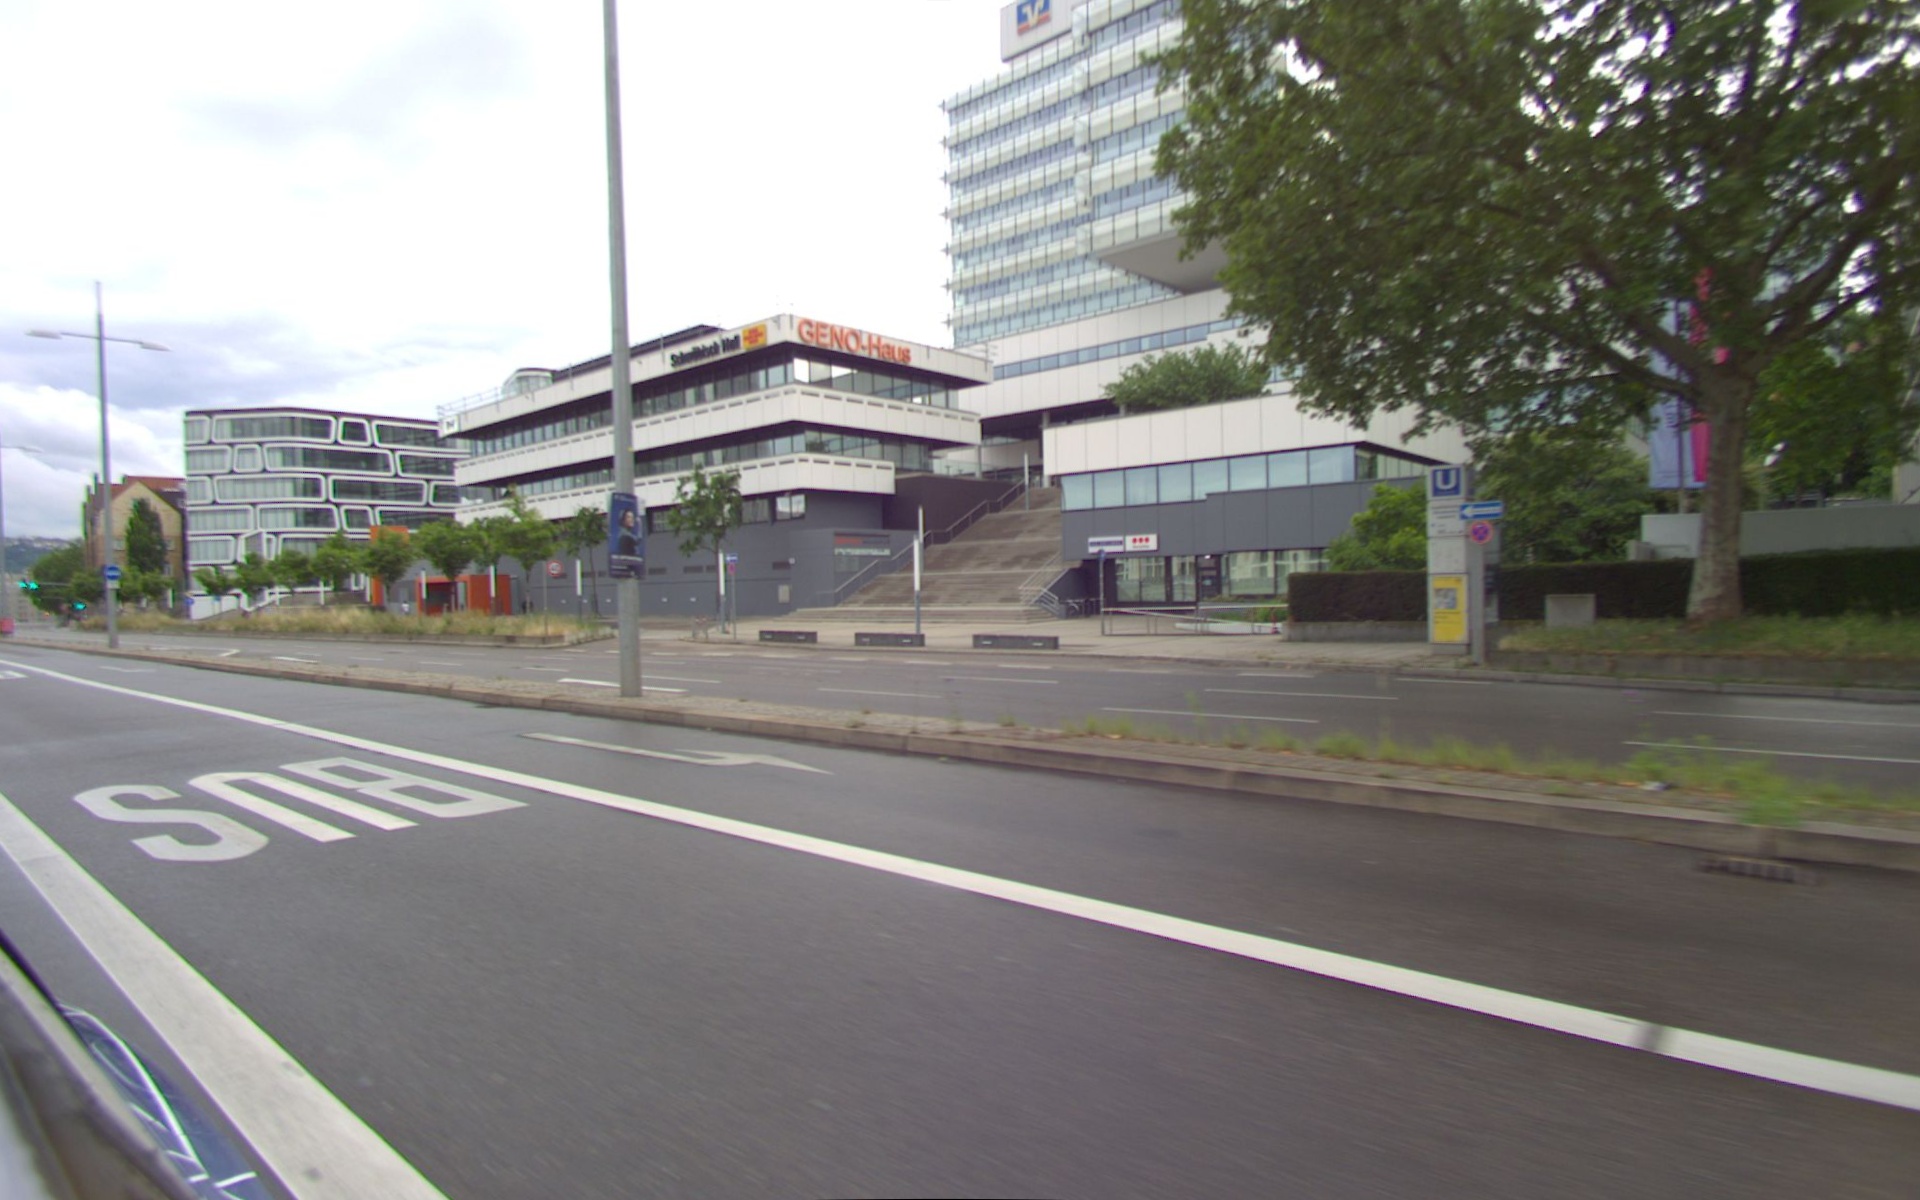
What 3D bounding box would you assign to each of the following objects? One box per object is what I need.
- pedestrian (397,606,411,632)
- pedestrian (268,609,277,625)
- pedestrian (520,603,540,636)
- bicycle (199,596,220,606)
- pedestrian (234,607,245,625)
[{"bbox_3d":[-38.887,1.322,70.791,0.628,1.821,0.623,0,0,42],"label":"pedestrian"},{"bbox_3d":[-68.961,1.692,101.488,0.640,1.623,0.604,0,2,45],"label":"pedestrian"},{"bbox_3d":[-23.667,1.073,55.691,0.628,1.821,0.776,0,0,42],"label":"pedestrian"},{"bbox_3d":[-67.600,0.055,91.160,1.638,0.864,0.608,-1,0,9],"label":"bicycle"},{"bbox_3d":[-66.525,1.460,93.428,0.798,1.670,0.611,0,-2,43],"label":"pedestrian"}]
